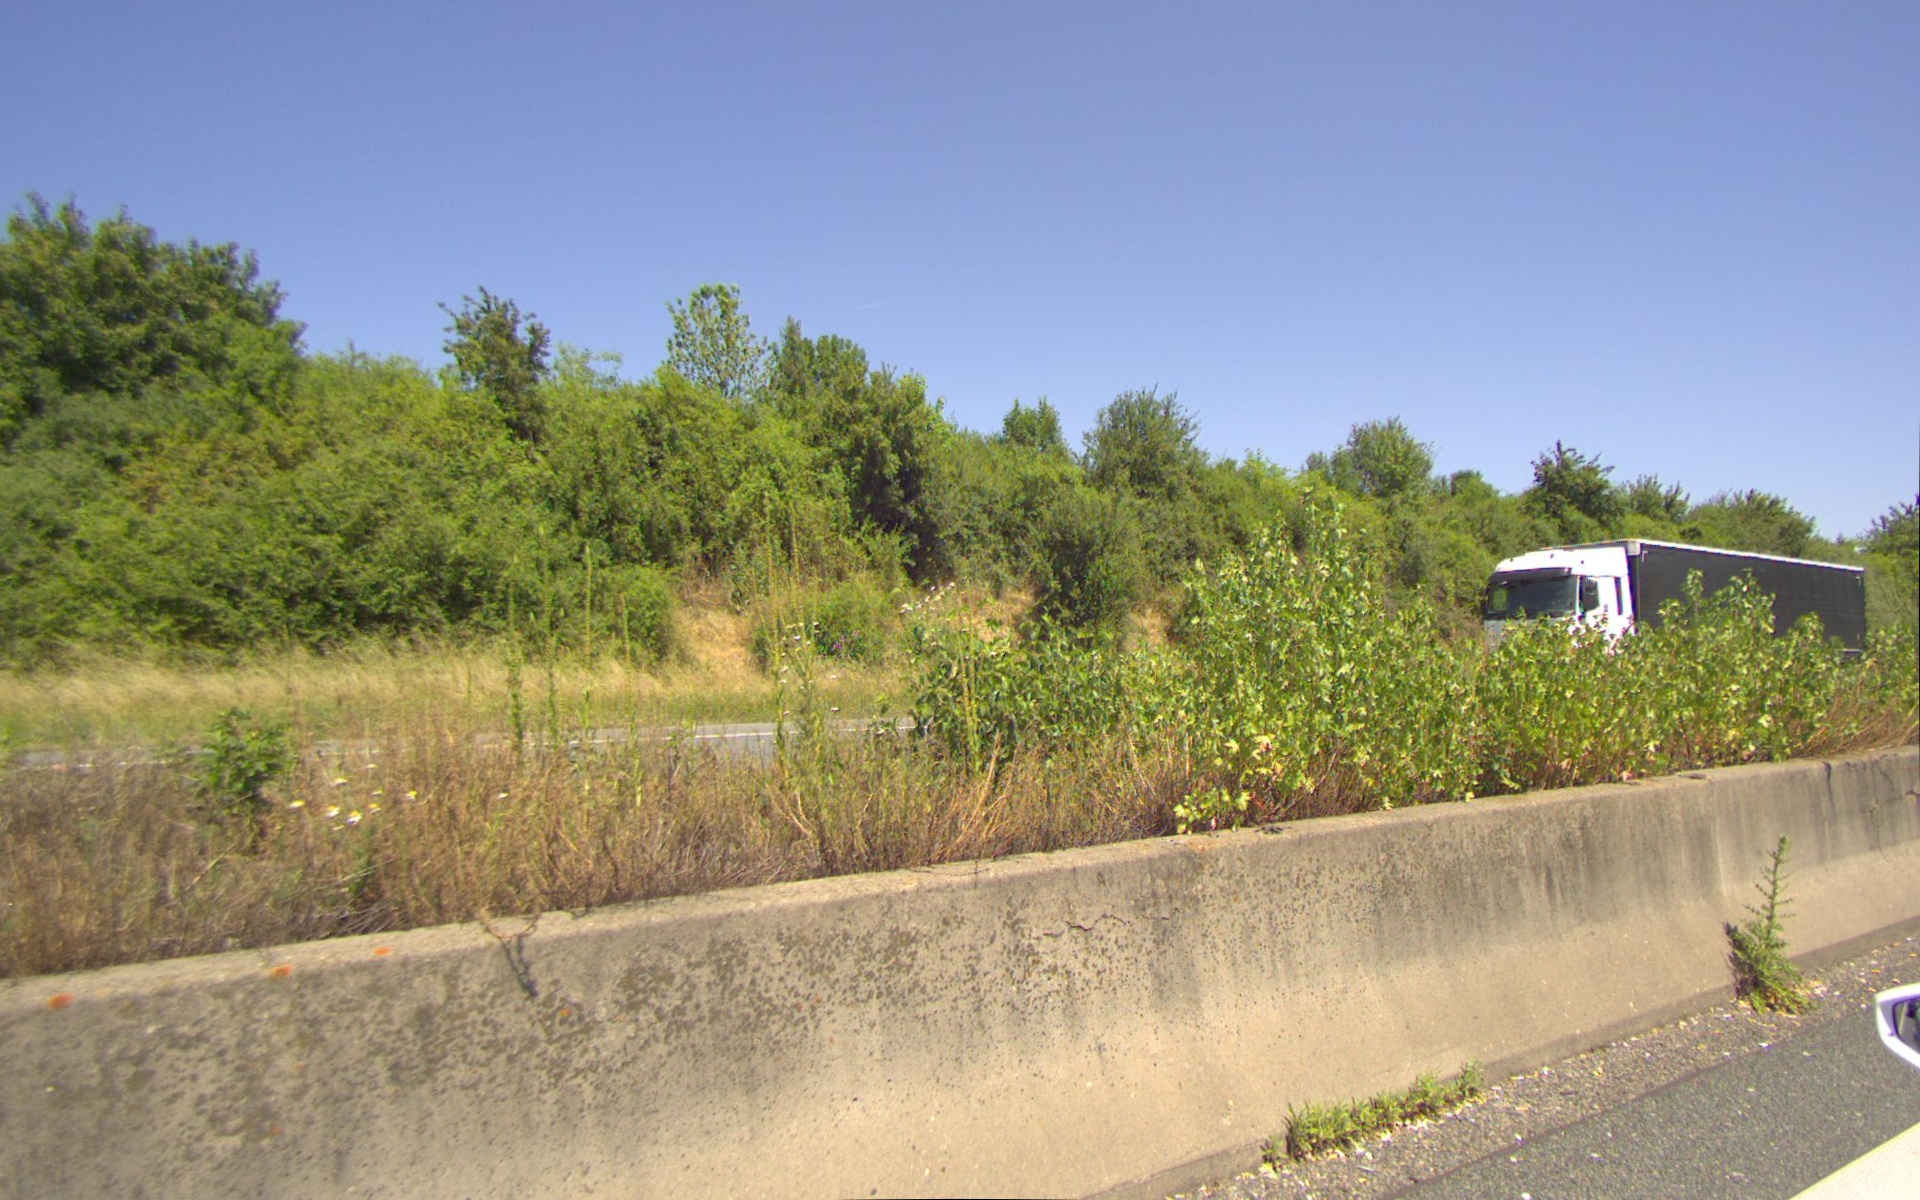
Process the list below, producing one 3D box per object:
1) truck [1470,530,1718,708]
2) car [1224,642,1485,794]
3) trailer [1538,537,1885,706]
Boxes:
[{"bbox_3d":[16.739,0.608,26.461,6.334,4.220,2.740,2,-4,-29],"label":"truck"},{"bbox_3d":[6.060,1.686,15.424,3.635,2.040,1.894,1,-2,-30],"label":"car"},{"bbox_3d":[22.707,0.794,29.870,14.026,4.220,2.741,2,-4,-30],"label":"trailer"}]
